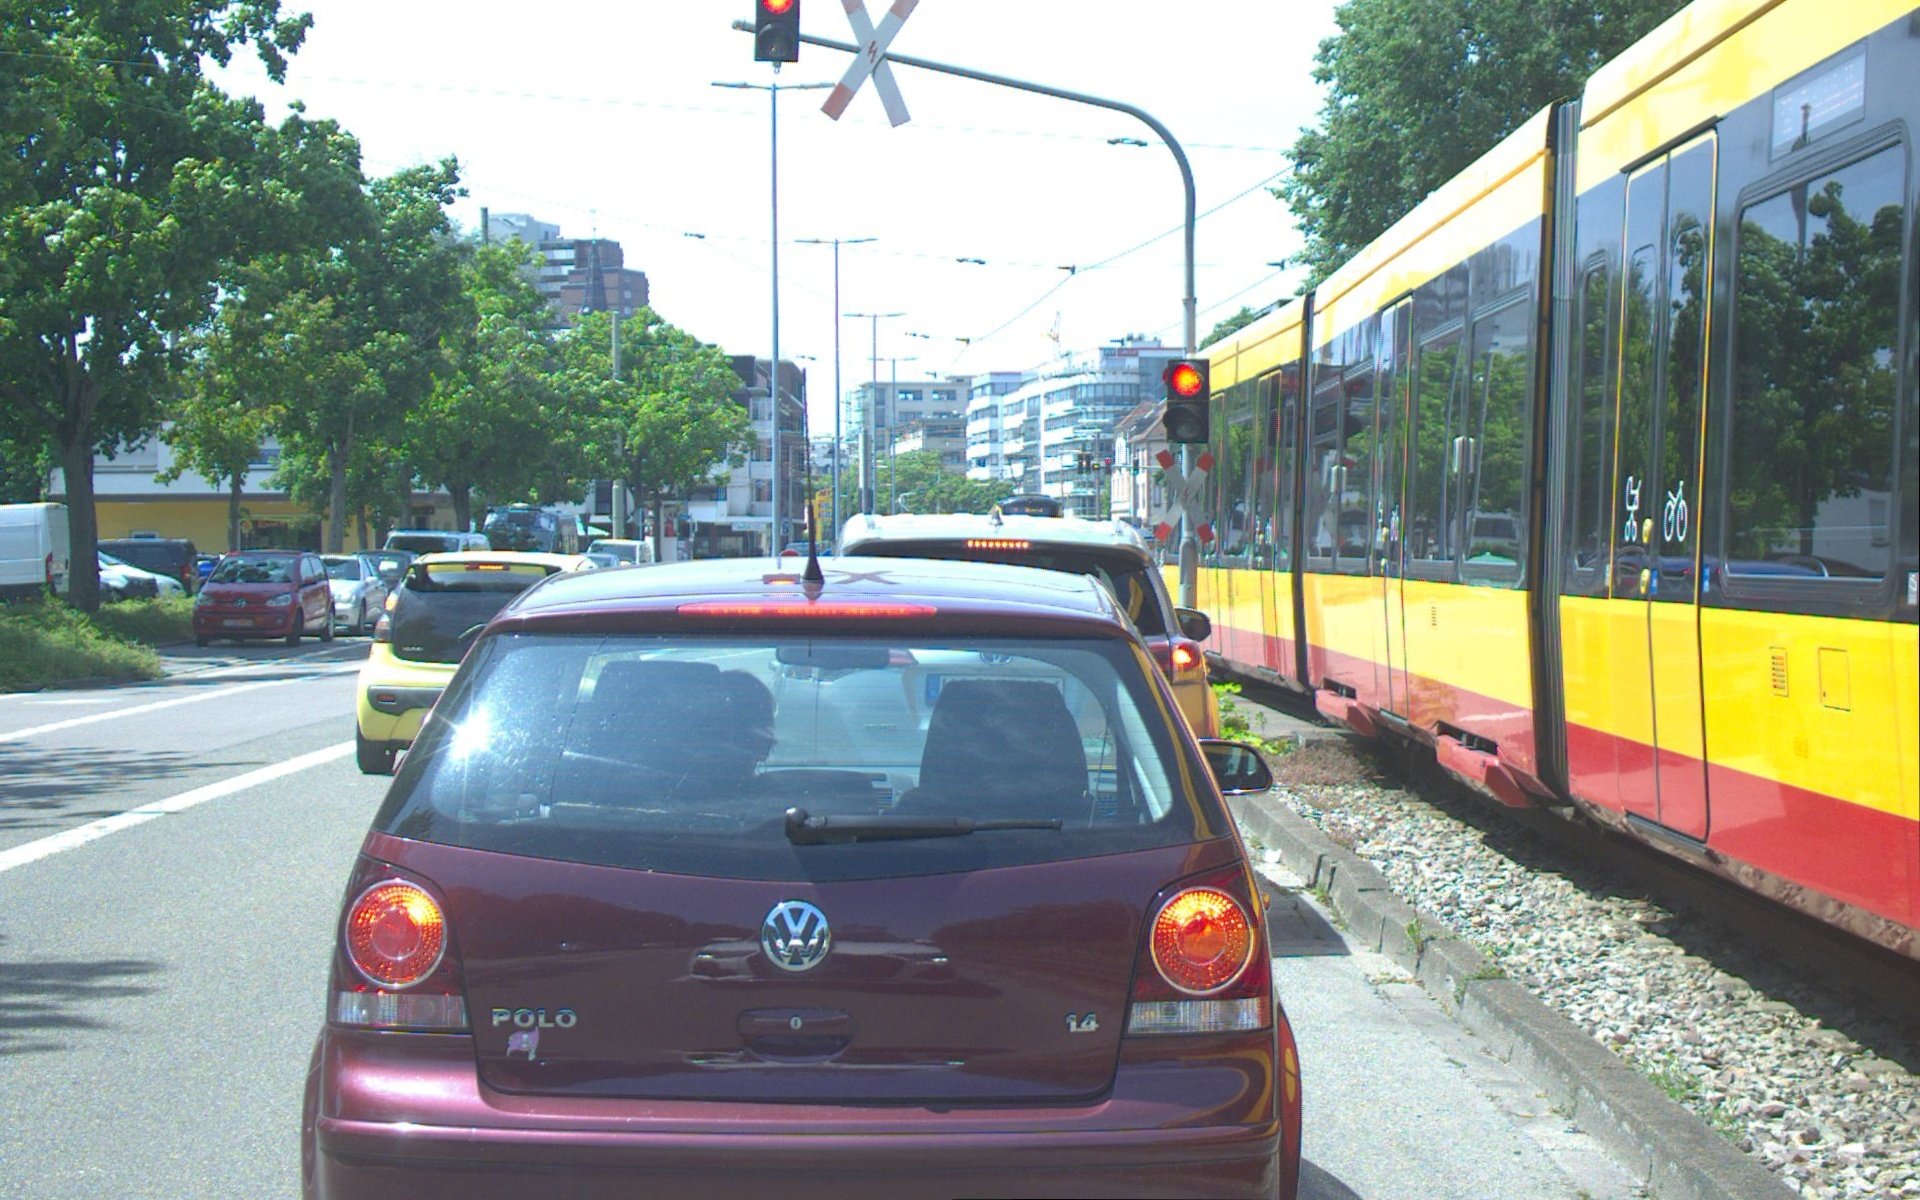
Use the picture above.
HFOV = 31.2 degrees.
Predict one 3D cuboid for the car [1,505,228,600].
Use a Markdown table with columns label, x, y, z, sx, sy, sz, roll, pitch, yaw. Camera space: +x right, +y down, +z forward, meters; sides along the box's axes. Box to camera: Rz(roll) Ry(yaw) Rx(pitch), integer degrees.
| label | x | y | z | sx | sy | sz | roll | pitch | yaw |
| --- | --- | --- | --- | --- | --- | --- | --- | --- | --- |
| car | -21.456 | -1.198 | 87.380 | 5.097 | 2.237 | 2.378 | 2 | 0 | 1 |

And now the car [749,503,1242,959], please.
| label | x | y | z | sx | sy | sz | roll | pitch | yaw |
| --- | --- | --- | --- | --- | --- | --- | --- | --- | --- |
| car | 0.084 | 0.443 | 14.651 | 1.777 | 1.641 | 4.000 | 1 | 1 | -1 |

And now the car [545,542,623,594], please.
| label | x | y | z | sx | sy | sz | roll | pitch | yaw |
| --- | --- | --- | --- | --- | --- | --- | --- | --- | --- |
| car | -11.079 | -0.931 | 101.373 | 1.614 | 1.436 | 4.000 | 2 | 0 | 3 |

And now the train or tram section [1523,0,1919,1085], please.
| label | x | y | z | sx | sy | sz | roll | pitch | yaw |
| --- | --- | --- | --- | --- | --- | --- | --- | --- | --- |
| train or tram section | 3.694 | -0.594 | 7.407 | 2.741 | 3.597 | 12.870 | 2 | 1 | 0 |

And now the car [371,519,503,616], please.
| label | x | y | z | sx | sy | sz | roll | pitch | yaw |
| --- | --- | --- | --- | --- | --- | --- | --- | --- | --- |
| car | -10.789 | -0.662 | 71.194 | 1.783 | 1.875 | 4.785 | 2 | 0 | 2 |

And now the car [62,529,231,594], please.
| label | x | y | z | sx | sy | sz | roll | pitch | yaw |
| --- | --- | --- | --- | --- | --- | --- | --- | --- | --- |
| car | -21.689 | -1.025 | 91.747 | 4.020 | 1.611 | 1.816 | 2 | 0 | 1 |

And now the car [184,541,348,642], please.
| label | x | y | z | sx | sy | sz | roll | pitch | yaw |
| --- | --- | --- | --- | --- | --- | --- | --- | --- | --- |
| car | -10.941 | -0.134 | 54.410 | 1.663 | 1.491 | 4.000 | 2 | 0 | 1 |

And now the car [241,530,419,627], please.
| label | x | y | z | sx | sy | sz | roll | pitch | yaw |
| --- | --- | --- | --- | --- | --- | --- | --- | --- | --- |
| car | -11.117 | -0.381 | 60.957 | 1.976 | 1.595 | 4.557 | 2 | 0 | 4 |

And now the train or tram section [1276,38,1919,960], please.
| label | x | y | z | sx | sy | sz | roll | pitch | yaw |
| --- | --- | --- | --- | --- | --- | --- | --- | --- | --- |
| train or tram section | 3.682 | -0.493 | 19.072 | 2.741 | 3.597 | 10.950 | 2 | 1 | 0 |

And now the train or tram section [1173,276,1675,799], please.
| label | x | y | z | sx | sy | sz | roll | pitch | yaw |
| --- | --- | --- | --- | --- | --- | --- | --- | --- | --- |
| train or tram section | 3.597 | -0.552 | 29.645 | 2.741 | 3.597 | 10.950 | 2 | 1 | 0 |

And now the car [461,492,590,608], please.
| label | x | y | z | sx | sy | sz | roll | pitch | yaw |
| --- | --- | --- | --- | --- | --- | --- | --- | --- | --- |
| car | -10.599 | -1.211 | 84.233 | 2.361 | 2.683 | 5.307 | 2 | 0 | 0 |

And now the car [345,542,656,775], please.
| label | x | y | z | sx | sy | sz | roll | pitch | yaw |
| --- | --- | --- | --- | --- | --- | --- | --- | --- | --- |
| car | -3.037 | 0.338 | 23.316 | 1.690 | 1.406 | 3.516 | 1 | 1 | -1 |

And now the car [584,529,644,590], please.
| label | x | y | z | sx | sy | sz | roll | pitch | yaw |
| --- | --- | --- | --- | --- | --- | --- | --- | --- | --- |
| car | -10.810 | -1.267 | 107.518 | 1.774 | 1.822 | 4.001 | 2 | 0 | -6 |

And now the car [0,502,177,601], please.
| label | x | y | z | sx | sy | sz | roll | pitch | yaw |
| --- | --- | --- | --- | --- | --- | --- | --- | --- | --- |
| car | -21.596 | -1.175 | 82.270 | 5.097 | 2.237 | 2.378 | 2 | 0 | 1 |

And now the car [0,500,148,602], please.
| label | x | y | z | sx | sy | sz | roll | pitch | yaw |
| --- | --- | --- | --- | --- | --- | --- | --- | --- | --- |
| car | -21.551 | -1.156 | 79.082 | 5.097 | 2.237 | 2.378 | 2 | 0 | 1 |

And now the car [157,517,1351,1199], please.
| label | x | y | z | sx | sy | sz | roll | pitch | yaw |
| --- | --- | --- | --- | --- | --- | --- | --- | --- | --- |
| car | -0.345 | 0.627 | 6.908 | 1.672 | 1.516 | 4.000 | 2 | 1 | -1 |

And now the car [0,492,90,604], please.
| label | x | y | z | sx | sy | sz | roll | pitch | yaw |
| --- | --- | --- | --- | --- | --- | --- | --- | --- | --- |
| car | -20.837 | -1.117 | 70.941 | 5.097 | 2.237 | 2.378 | 2 | 0 | 1 |

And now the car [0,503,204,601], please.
| label | x | y | z | sx | sy | sz | roll | pitch | yaw |
| --- | --- | --- | --- | --- | --- | --- | --- | --- | --- |
| car | -21.477 | -1.184 | 84.745 | 5.097 | 2.237 | 2.378 | 2 | 0 | 1 |
